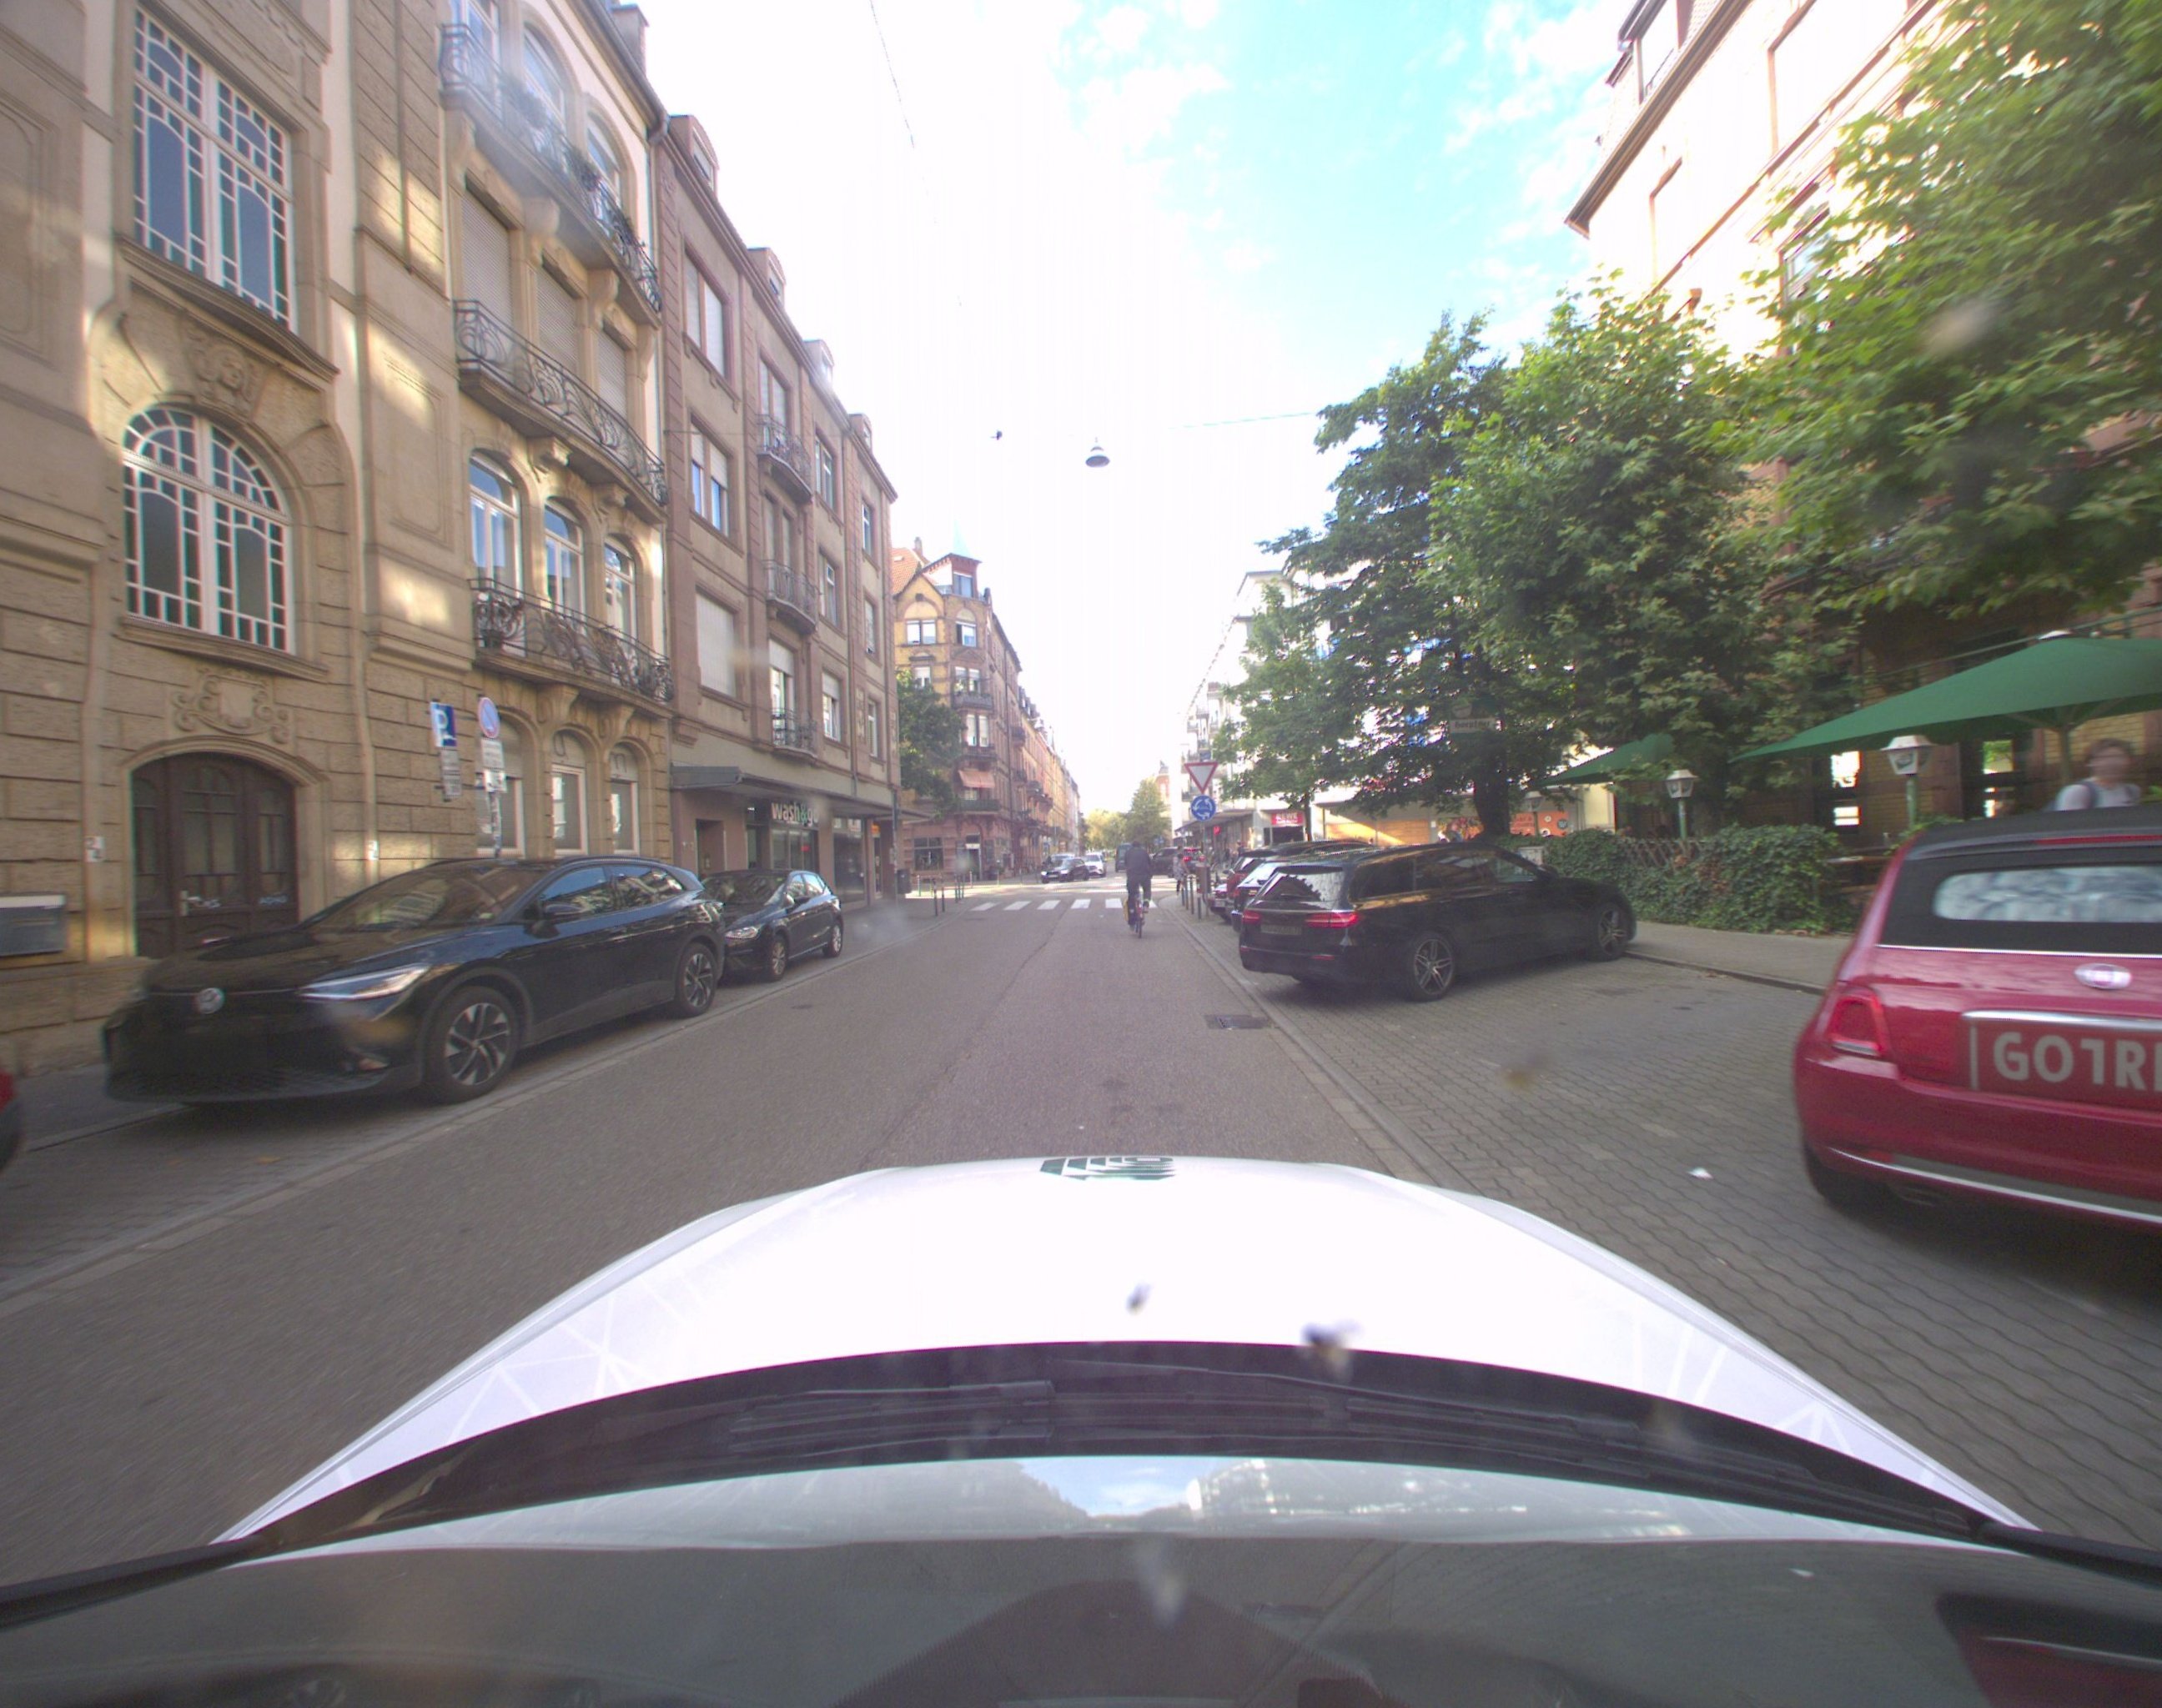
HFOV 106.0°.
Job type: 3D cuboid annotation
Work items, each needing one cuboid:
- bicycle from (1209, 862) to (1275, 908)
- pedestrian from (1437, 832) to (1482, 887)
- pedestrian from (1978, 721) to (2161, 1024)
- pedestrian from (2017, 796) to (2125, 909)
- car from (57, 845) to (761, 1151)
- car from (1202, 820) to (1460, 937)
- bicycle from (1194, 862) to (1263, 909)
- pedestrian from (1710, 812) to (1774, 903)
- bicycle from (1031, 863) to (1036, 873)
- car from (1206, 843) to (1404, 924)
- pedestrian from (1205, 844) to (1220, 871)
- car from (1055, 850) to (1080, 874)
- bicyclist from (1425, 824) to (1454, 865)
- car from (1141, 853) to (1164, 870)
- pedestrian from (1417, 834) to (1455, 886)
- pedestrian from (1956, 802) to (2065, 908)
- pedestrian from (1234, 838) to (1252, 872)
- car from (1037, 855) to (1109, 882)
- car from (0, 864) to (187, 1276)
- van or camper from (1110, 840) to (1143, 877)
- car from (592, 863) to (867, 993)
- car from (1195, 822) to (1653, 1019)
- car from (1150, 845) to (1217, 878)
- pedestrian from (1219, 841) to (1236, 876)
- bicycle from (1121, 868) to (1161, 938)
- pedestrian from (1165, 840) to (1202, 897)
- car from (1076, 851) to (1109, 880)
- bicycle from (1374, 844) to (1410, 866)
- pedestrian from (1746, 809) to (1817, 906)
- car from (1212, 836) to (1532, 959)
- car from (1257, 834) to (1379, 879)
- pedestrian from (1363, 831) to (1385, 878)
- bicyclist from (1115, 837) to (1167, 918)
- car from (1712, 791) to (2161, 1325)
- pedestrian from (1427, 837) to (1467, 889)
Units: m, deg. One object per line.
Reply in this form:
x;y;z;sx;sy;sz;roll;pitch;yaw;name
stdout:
3.938;0.778;20.056;0.462;1.040;1.840;-6;0;-27;bicycle
9.970;0.142;21.474;0.795;1.406;0.702;-3;0;-2;pedestrian
6.853;0.106;5.434;0.835;1.878;0.724;-3;0;6;pedestrian
11.300;-0.013;9.310;0.465;1.219;0.562;-5;0;-7;pedestrian
-4.706;0.819;6.956;1.783;1.628;4.850;-3;-1;2;car
4.638;0.391;15.070;4.361;1.645;1.807;-5;1;-24;car
3.540;0.767;19.743;0.551;1.040;1.840;-6;0;-27;bicycle
11.907;0.058;14.682;0.626;1.570;0.570;-3;0;-2;pedestrian
-4.394;1.298;75.431;0.359;0.947;1.714;-2;0;-2;bicycle
4.874;0.581;17.697;3.952;1.457;1.754;-2;0;-26;car
8.164;0.240;50.549;0.740;1.629;0.815;-3;0;13;pedestrian
-1.180;0.689;72.408;1.987;2.013;4.000;-3;0;0;car
15.237;-0.398;34.649;1.004;1.668;0.948;-3;0;21;bicyclist
6.757;0.693;77.080;1.985;1.486;4.004;-3;0;3;car
9.910;0.174;22.742;0.754;1.392;0.548;-3;0;-2;pedestrian
11.315;0.014;9.928;0.486;1.219;0.648;-5;0;-6;pedestrian
9.006;0.054;45.181;0.864;1.851;0.614;-3;0;7;pedestrian
-0.401;0.795;46.954;1.733;1.436;4.238;-2;-1;41;car
-5.134;0.848;1.491;1.986;1.545;4.428;-3;-1;1;car
4.018;0.376;72.520;2.523;3.037;4.458;-3;0;0;van or camper
-4.751;0.906;11.837;1.986;1.420;4.246;-3;0;2;car
3.881;0.558;9.108;4.778;1.456;2.039;-5;1;-26;car
5.424;0.420;43.683;1.999;1.618;3.975;-3;0;-18;car
8.145;0.249;45.282;0.864;1.851;0.614;-3;0;7;pedestrian
1.112;0.887;15.536;0.663;1.178;2.498;-1;0;2;bicycle
3.301;0.469;26.212;0.774;1.779;0.798;-3;0;40;pedestrian
0.855;0.742;56.725;1.934;1.722;4.854;-4;1;3;car
16.157;0.064;42.307;1.663;1.050;0.461;-3;0;42;bicycle
11.760;0.051;13.691;0.626;1.570;0.570;-3;0;-2;pedestrian
4.424;0.571;12.407;4.419;1.457;1.928;-3;0;-23;car
10.653;0.129;36.856;4.784;1.724;2.055;-3;2;44;car
11.188;0.005;31.128;0.624;1.739;0.779;-3;0;14;pedestrian
1.134;0.444;15.612;0.930;1.484;0.747;-1;0;2;bicyclist
4.480;0.504;3.542;3.736;1.485;1.722;-4;1;-36;car
9.950;0.244;22.156;0.754;1.342;0.596;-3;0;-2;pedestrian
